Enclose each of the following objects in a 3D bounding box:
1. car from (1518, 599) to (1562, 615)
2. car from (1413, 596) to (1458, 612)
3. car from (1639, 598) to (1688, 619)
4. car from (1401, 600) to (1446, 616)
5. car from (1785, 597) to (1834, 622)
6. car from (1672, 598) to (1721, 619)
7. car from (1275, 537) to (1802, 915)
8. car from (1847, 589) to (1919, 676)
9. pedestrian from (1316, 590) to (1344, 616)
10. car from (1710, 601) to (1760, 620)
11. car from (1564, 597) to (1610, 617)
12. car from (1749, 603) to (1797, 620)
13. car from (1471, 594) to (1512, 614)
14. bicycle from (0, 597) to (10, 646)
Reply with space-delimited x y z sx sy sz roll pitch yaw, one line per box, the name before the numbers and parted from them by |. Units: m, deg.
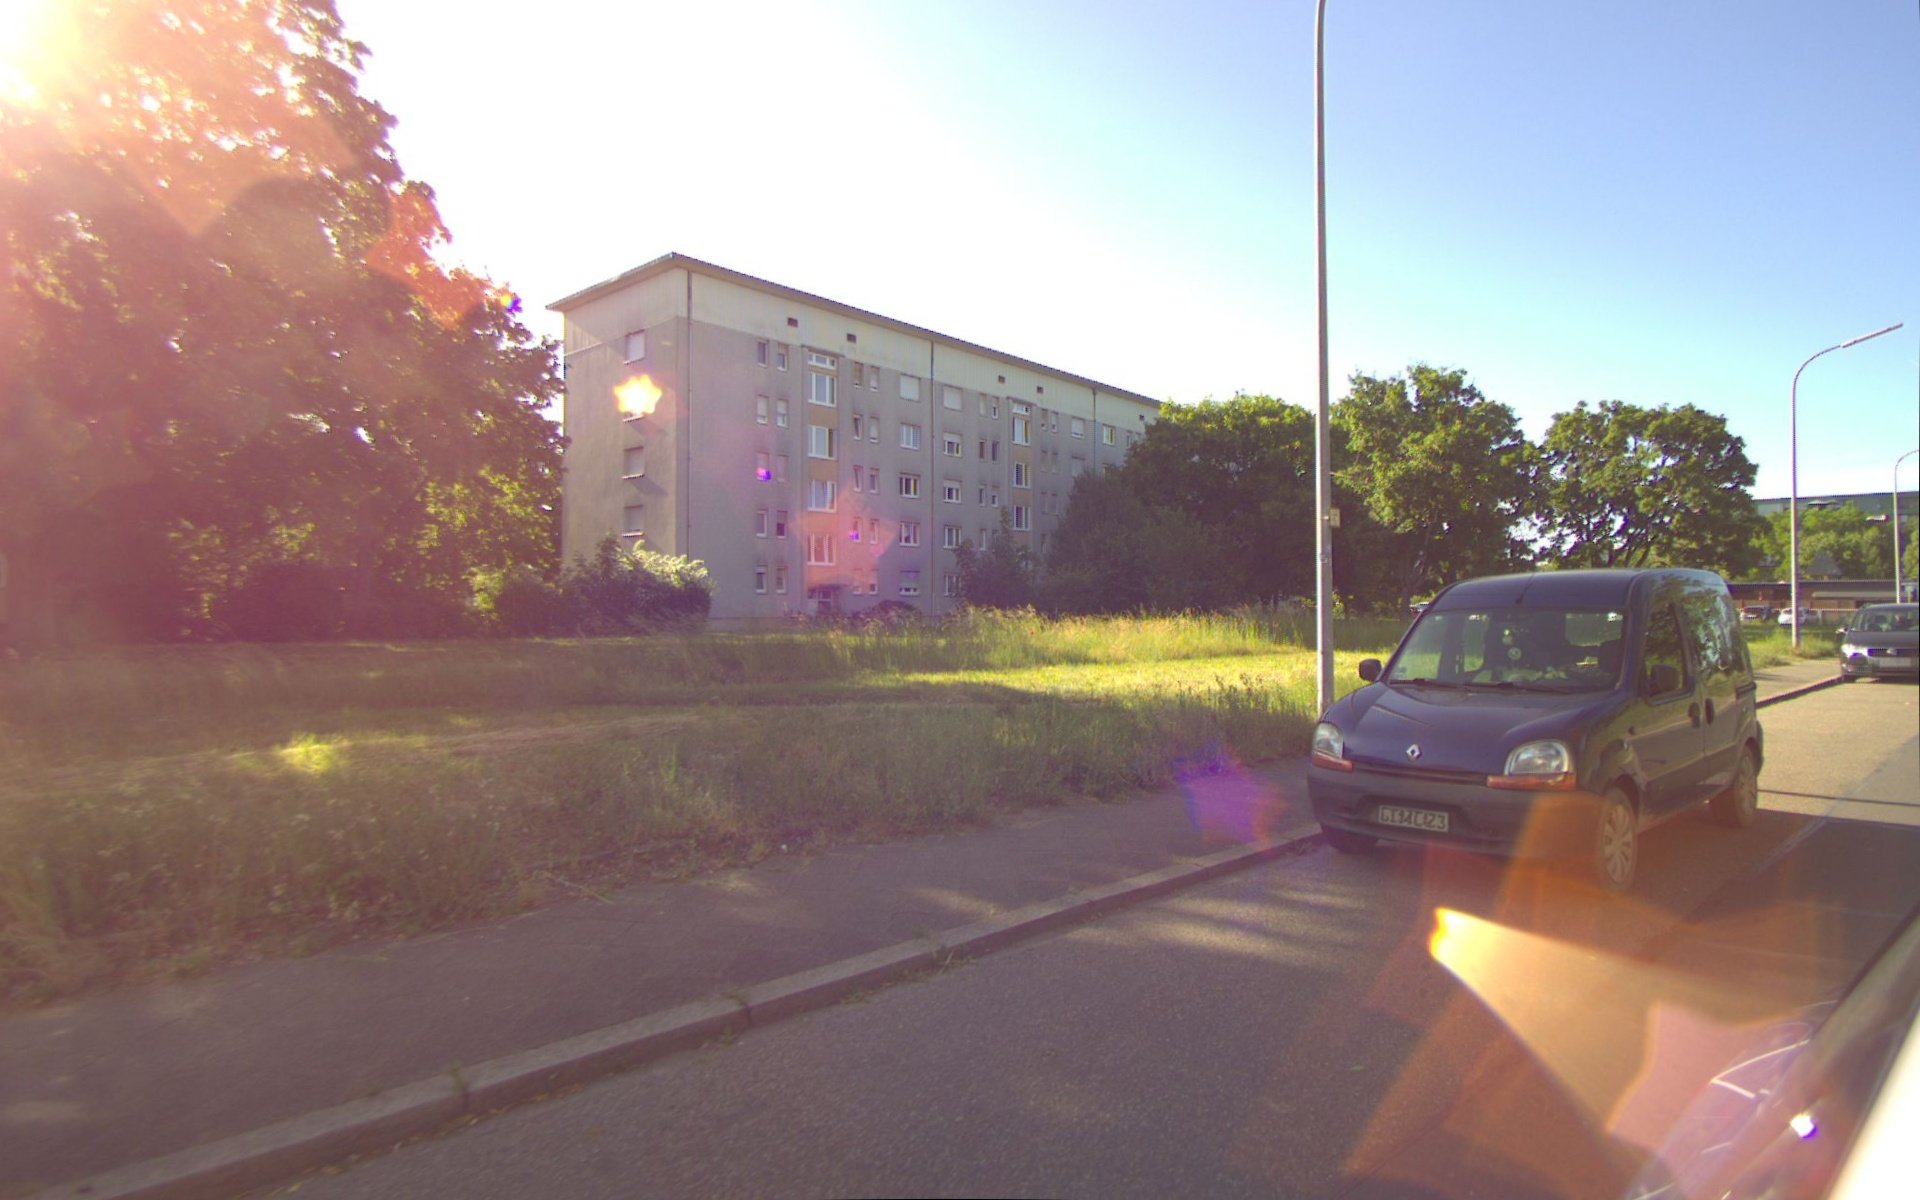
car | 57.041 0.661 99.515 3.919 1.581 1.960 0 0 -28
car | 52.182 0.417 111.078 4.605 1.767 1.960 0 0 -25
car | 61.470 0.698 88.371 3.919 1.796 1.960 0 0 -28
car | 45.522 0.787 99.514 1.958 1.469 3.646 0 0 -24
car | 66.825 0.726 79.566 3.923 1.883 1.957 0 0 -34
car | 62.684 0.724 86.102 3.919 1.796 1.864 0 0 -28
car | 3.961 0.598 6.651 4.011 1.753 1.701 0 -1 -40
car | 19.980 0.625 21.127 4.395 1.673 1.839 0 -1 -44
pedestrian | 29.917 0.234 81.823 1.668 2.057 1.490 0 0 -39
car | 64.578 0.866 84.321 3.919 1.488 1.868 0 0 -28
car | 59.116 0.625 95.455 3.919 1.795 1.960 -2 1 -28
car | 65.528 0.934 81.573 3.921 1.341 1.783 0 0 -32
car | 54.718 0.389 104.195 3.920 2.039 2.002 0 0 -31
bicycle | -31.170 0.689 31.198 0.779 1.544 2.713 0 1 43
